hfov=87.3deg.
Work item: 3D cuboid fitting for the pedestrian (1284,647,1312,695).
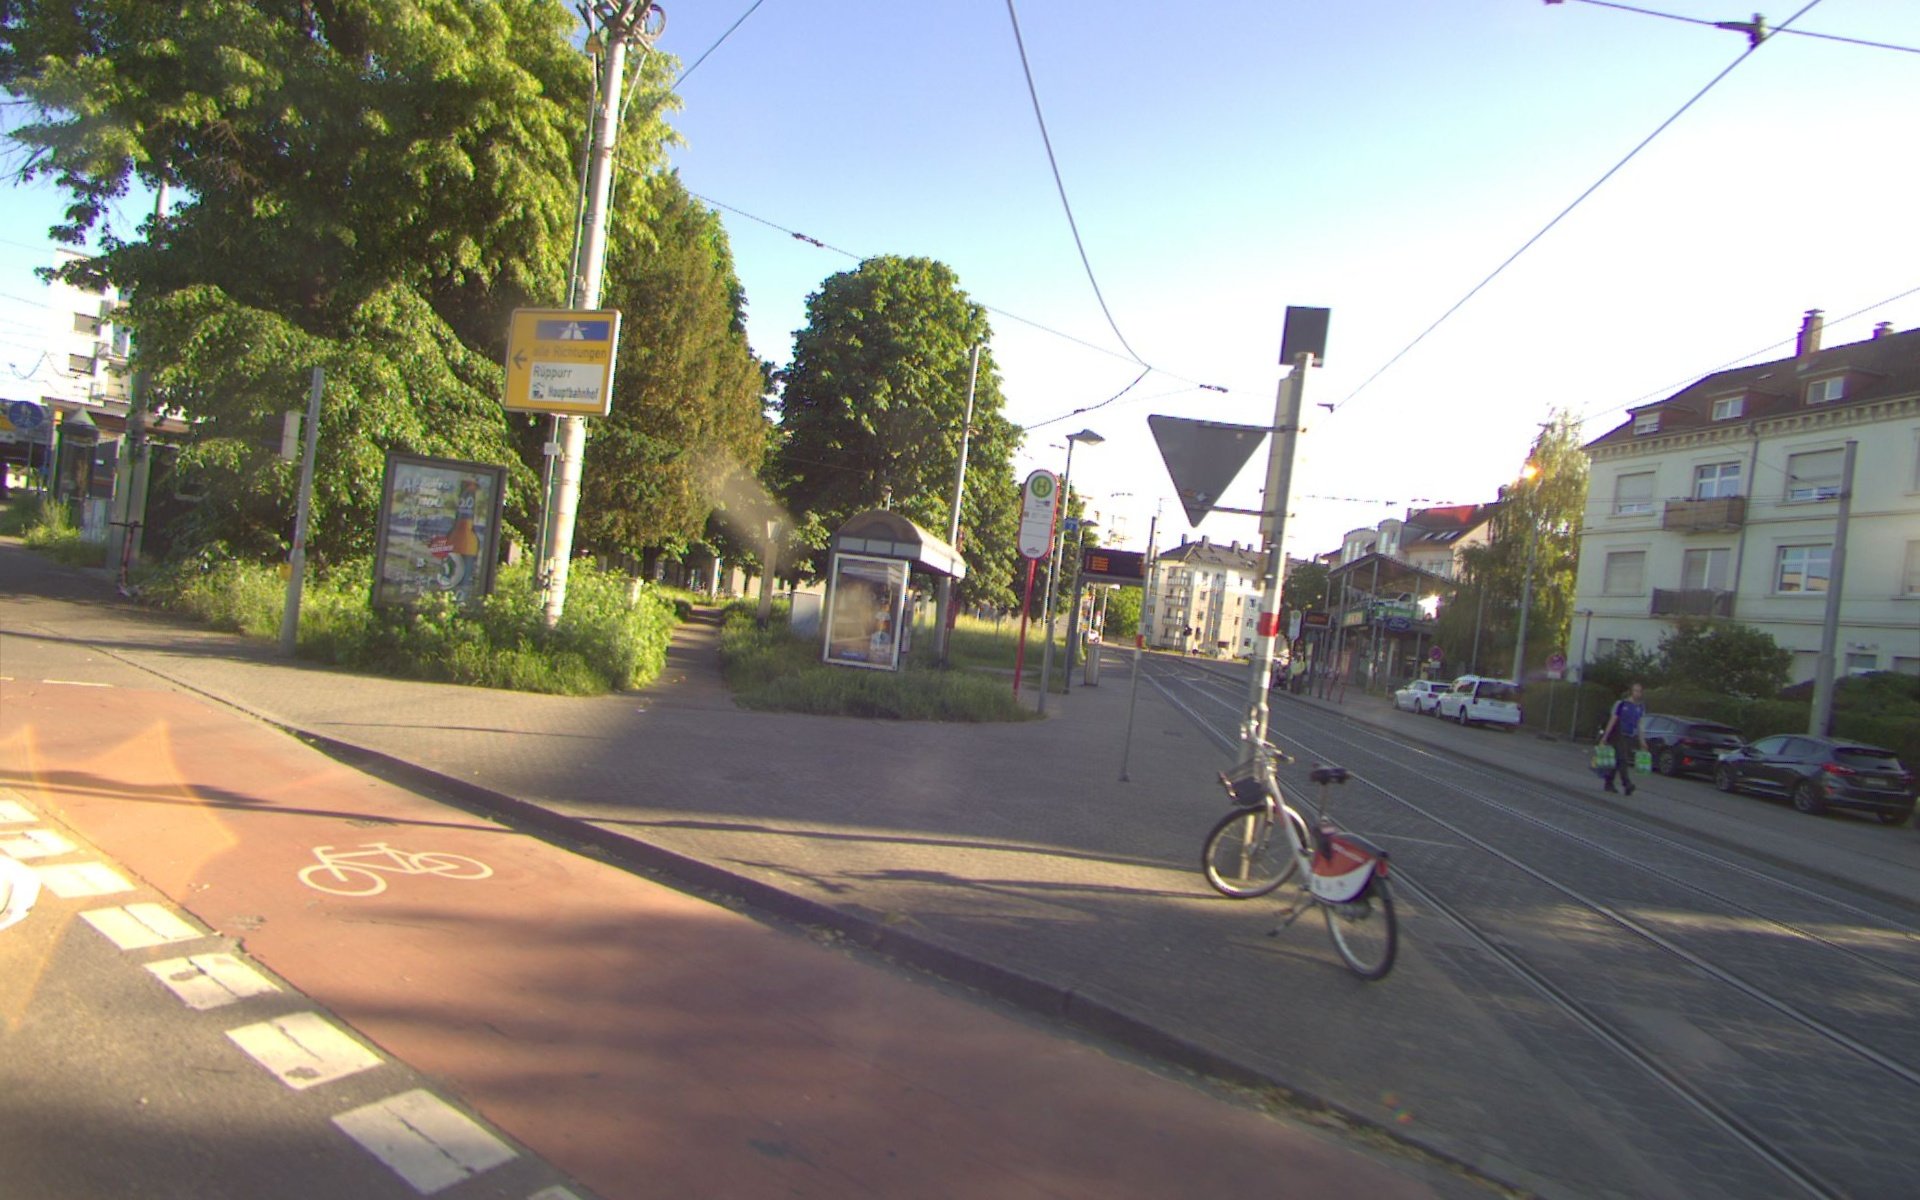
[{"bbox_3d":[13.492,2.823,40.176,0.668,1.815,0.996,7,1,8],"label":"pedestrian"}]

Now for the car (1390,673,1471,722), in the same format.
[{"bbox_3d":[19.915,4.102,42.746,1.772,1.560,3.941,7,0,7],"label":"car"}]

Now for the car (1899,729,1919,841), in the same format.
[{"bbox_3d":[16.432,3.113,14.710,1.772,1.784,3.892,7,0,6],"label":"car"}]

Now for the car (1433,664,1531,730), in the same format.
[{"bbox_3d":[19.362,3.549,37.499,1.772,1.951,3.941,7,0,7],"label":"car"}]

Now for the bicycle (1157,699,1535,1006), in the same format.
[{"bbox_3d":[1.890,1.216,5.322,0.815,1.072,1.877,7,0,-15],"label":"bicycle"}]

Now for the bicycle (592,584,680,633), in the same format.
[{"bbox_3d":[-7.741,0.203,24.114,1.852,0.917,0.658,8,1,-11],"label":"bicycle"}]

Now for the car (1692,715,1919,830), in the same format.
[{"bbox_3d":[17.036,3.373,20.258,1.772,1.495,3.941,7,0,5],"label":"car"}]

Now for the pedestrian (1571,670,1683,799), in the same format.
[{"bbox_3d":[10.504,2.094,15.897,0.943,1.815,0.996,7,1,8],"label":"pedestrian"}]

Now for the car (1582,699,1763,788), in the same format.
[{"bbox_3d":[17.647,3.492,25.172,1.772,1.495,3.941,7,0,5],"label":"car"}]

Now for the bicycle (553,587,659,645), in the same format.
[{"bbox_3d":[-7.159,0.316,20.422,1.852,0.917,0.658,8,1,-11],"label":"bicycle"}]
